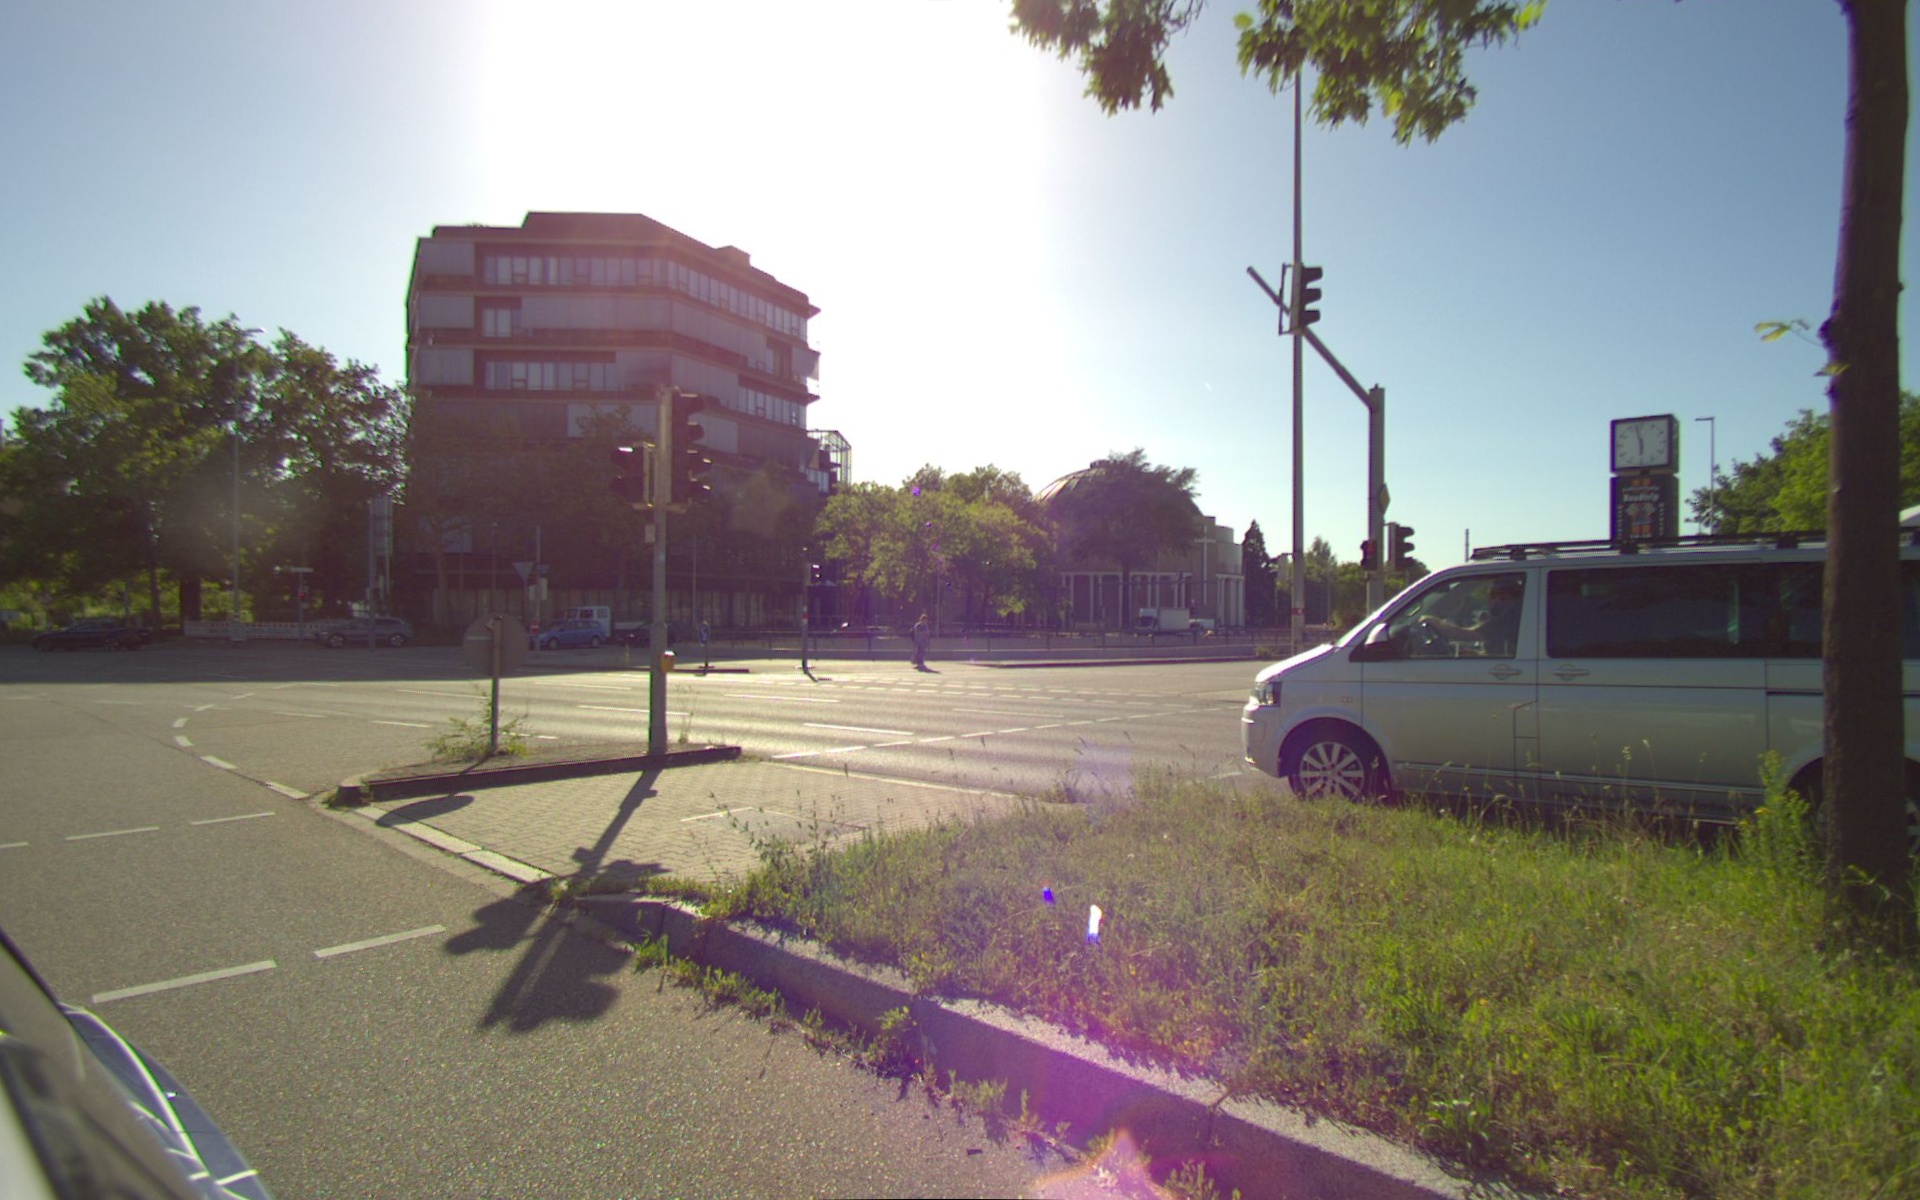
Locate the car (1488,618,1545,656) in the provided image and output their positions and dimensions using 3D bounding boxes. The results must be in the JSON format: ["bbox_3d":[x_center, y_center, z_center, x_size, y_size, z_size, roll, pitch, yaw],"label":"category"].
[{"bbox_3d":[26.718,1.717,48.539,1.877,1.722,4.145,-1,-1,36],"label":"car"}]

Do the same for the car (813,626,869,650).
[{"bbox_3d":[-8.989,2.873,76.612,1.814,1.713,4.139,-1,-1,41],"label":"car"}]

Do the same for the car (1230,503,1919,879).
[{"bbox_3d":[4.620,0.523,7.081,4.922,2.023,1.919,-1,-1,37],"label":"car"}]

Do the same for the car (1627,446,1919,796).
[{"bbox_3d":[8.687,0.147,7.551,6.077,2.596,1.919,-1,-1,37],"label":"car"}]

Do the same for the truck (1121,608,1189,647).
[{"bbox_3d":[21.209,2.886,109.387,3.844,3.825,9.234,-1,0,34],"label":"truck"}]

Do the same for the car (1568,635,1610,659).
[{"bbox_3d":[42.925,3.178,69.018,1.997,1.519,3.949,-1,-2,38],"label":"car"}]

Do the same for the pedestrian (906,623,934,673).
[{"bbox_3d":[-1.191,1.434,30.356,0.695,1.474,0.679,0,-1,10],"label":"pedestrian"}]

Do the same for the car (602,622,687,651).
[{"bbox_3d":[-17.659,2.015,56.881,1.945,1.552,4.409,-1,-1,32],"label":"car"}]

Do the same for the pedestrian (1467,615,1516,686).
[{"bbox_3d":[11.986,1.121,22.833,0.717,1.559,0.713,0,-2,-36],"label":"pedestrian"}]

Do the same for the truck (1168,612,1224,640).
[{"bbox_3d":[27.717,3.000,118.442,3.844,3.039,7.659,-1,0,35],"label":"truck"}]

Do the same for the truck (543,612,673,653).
[{"bbox_3d":[-21.575,1.948,62.339,2.165,2.378,7.405,-1,-1,45],"label":"truck"}]

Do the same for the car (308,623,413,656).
[{"bbox_3d":[-31.186,2.021,52.752,4.440,1.657,1.883,1,-1,-42],"label":"car"}]

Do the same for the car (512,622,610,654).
[{"bbox_3d":[-20.396,1.894,51.907,1.945,1.552,4.409,-1,-1,32],"label":"car"}]

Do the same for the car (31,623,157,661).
[{"bbox_3d":[-40.786,1.946,47.768,4.125,1.713,1.820,0,-1,-16],"label":"car"}]
